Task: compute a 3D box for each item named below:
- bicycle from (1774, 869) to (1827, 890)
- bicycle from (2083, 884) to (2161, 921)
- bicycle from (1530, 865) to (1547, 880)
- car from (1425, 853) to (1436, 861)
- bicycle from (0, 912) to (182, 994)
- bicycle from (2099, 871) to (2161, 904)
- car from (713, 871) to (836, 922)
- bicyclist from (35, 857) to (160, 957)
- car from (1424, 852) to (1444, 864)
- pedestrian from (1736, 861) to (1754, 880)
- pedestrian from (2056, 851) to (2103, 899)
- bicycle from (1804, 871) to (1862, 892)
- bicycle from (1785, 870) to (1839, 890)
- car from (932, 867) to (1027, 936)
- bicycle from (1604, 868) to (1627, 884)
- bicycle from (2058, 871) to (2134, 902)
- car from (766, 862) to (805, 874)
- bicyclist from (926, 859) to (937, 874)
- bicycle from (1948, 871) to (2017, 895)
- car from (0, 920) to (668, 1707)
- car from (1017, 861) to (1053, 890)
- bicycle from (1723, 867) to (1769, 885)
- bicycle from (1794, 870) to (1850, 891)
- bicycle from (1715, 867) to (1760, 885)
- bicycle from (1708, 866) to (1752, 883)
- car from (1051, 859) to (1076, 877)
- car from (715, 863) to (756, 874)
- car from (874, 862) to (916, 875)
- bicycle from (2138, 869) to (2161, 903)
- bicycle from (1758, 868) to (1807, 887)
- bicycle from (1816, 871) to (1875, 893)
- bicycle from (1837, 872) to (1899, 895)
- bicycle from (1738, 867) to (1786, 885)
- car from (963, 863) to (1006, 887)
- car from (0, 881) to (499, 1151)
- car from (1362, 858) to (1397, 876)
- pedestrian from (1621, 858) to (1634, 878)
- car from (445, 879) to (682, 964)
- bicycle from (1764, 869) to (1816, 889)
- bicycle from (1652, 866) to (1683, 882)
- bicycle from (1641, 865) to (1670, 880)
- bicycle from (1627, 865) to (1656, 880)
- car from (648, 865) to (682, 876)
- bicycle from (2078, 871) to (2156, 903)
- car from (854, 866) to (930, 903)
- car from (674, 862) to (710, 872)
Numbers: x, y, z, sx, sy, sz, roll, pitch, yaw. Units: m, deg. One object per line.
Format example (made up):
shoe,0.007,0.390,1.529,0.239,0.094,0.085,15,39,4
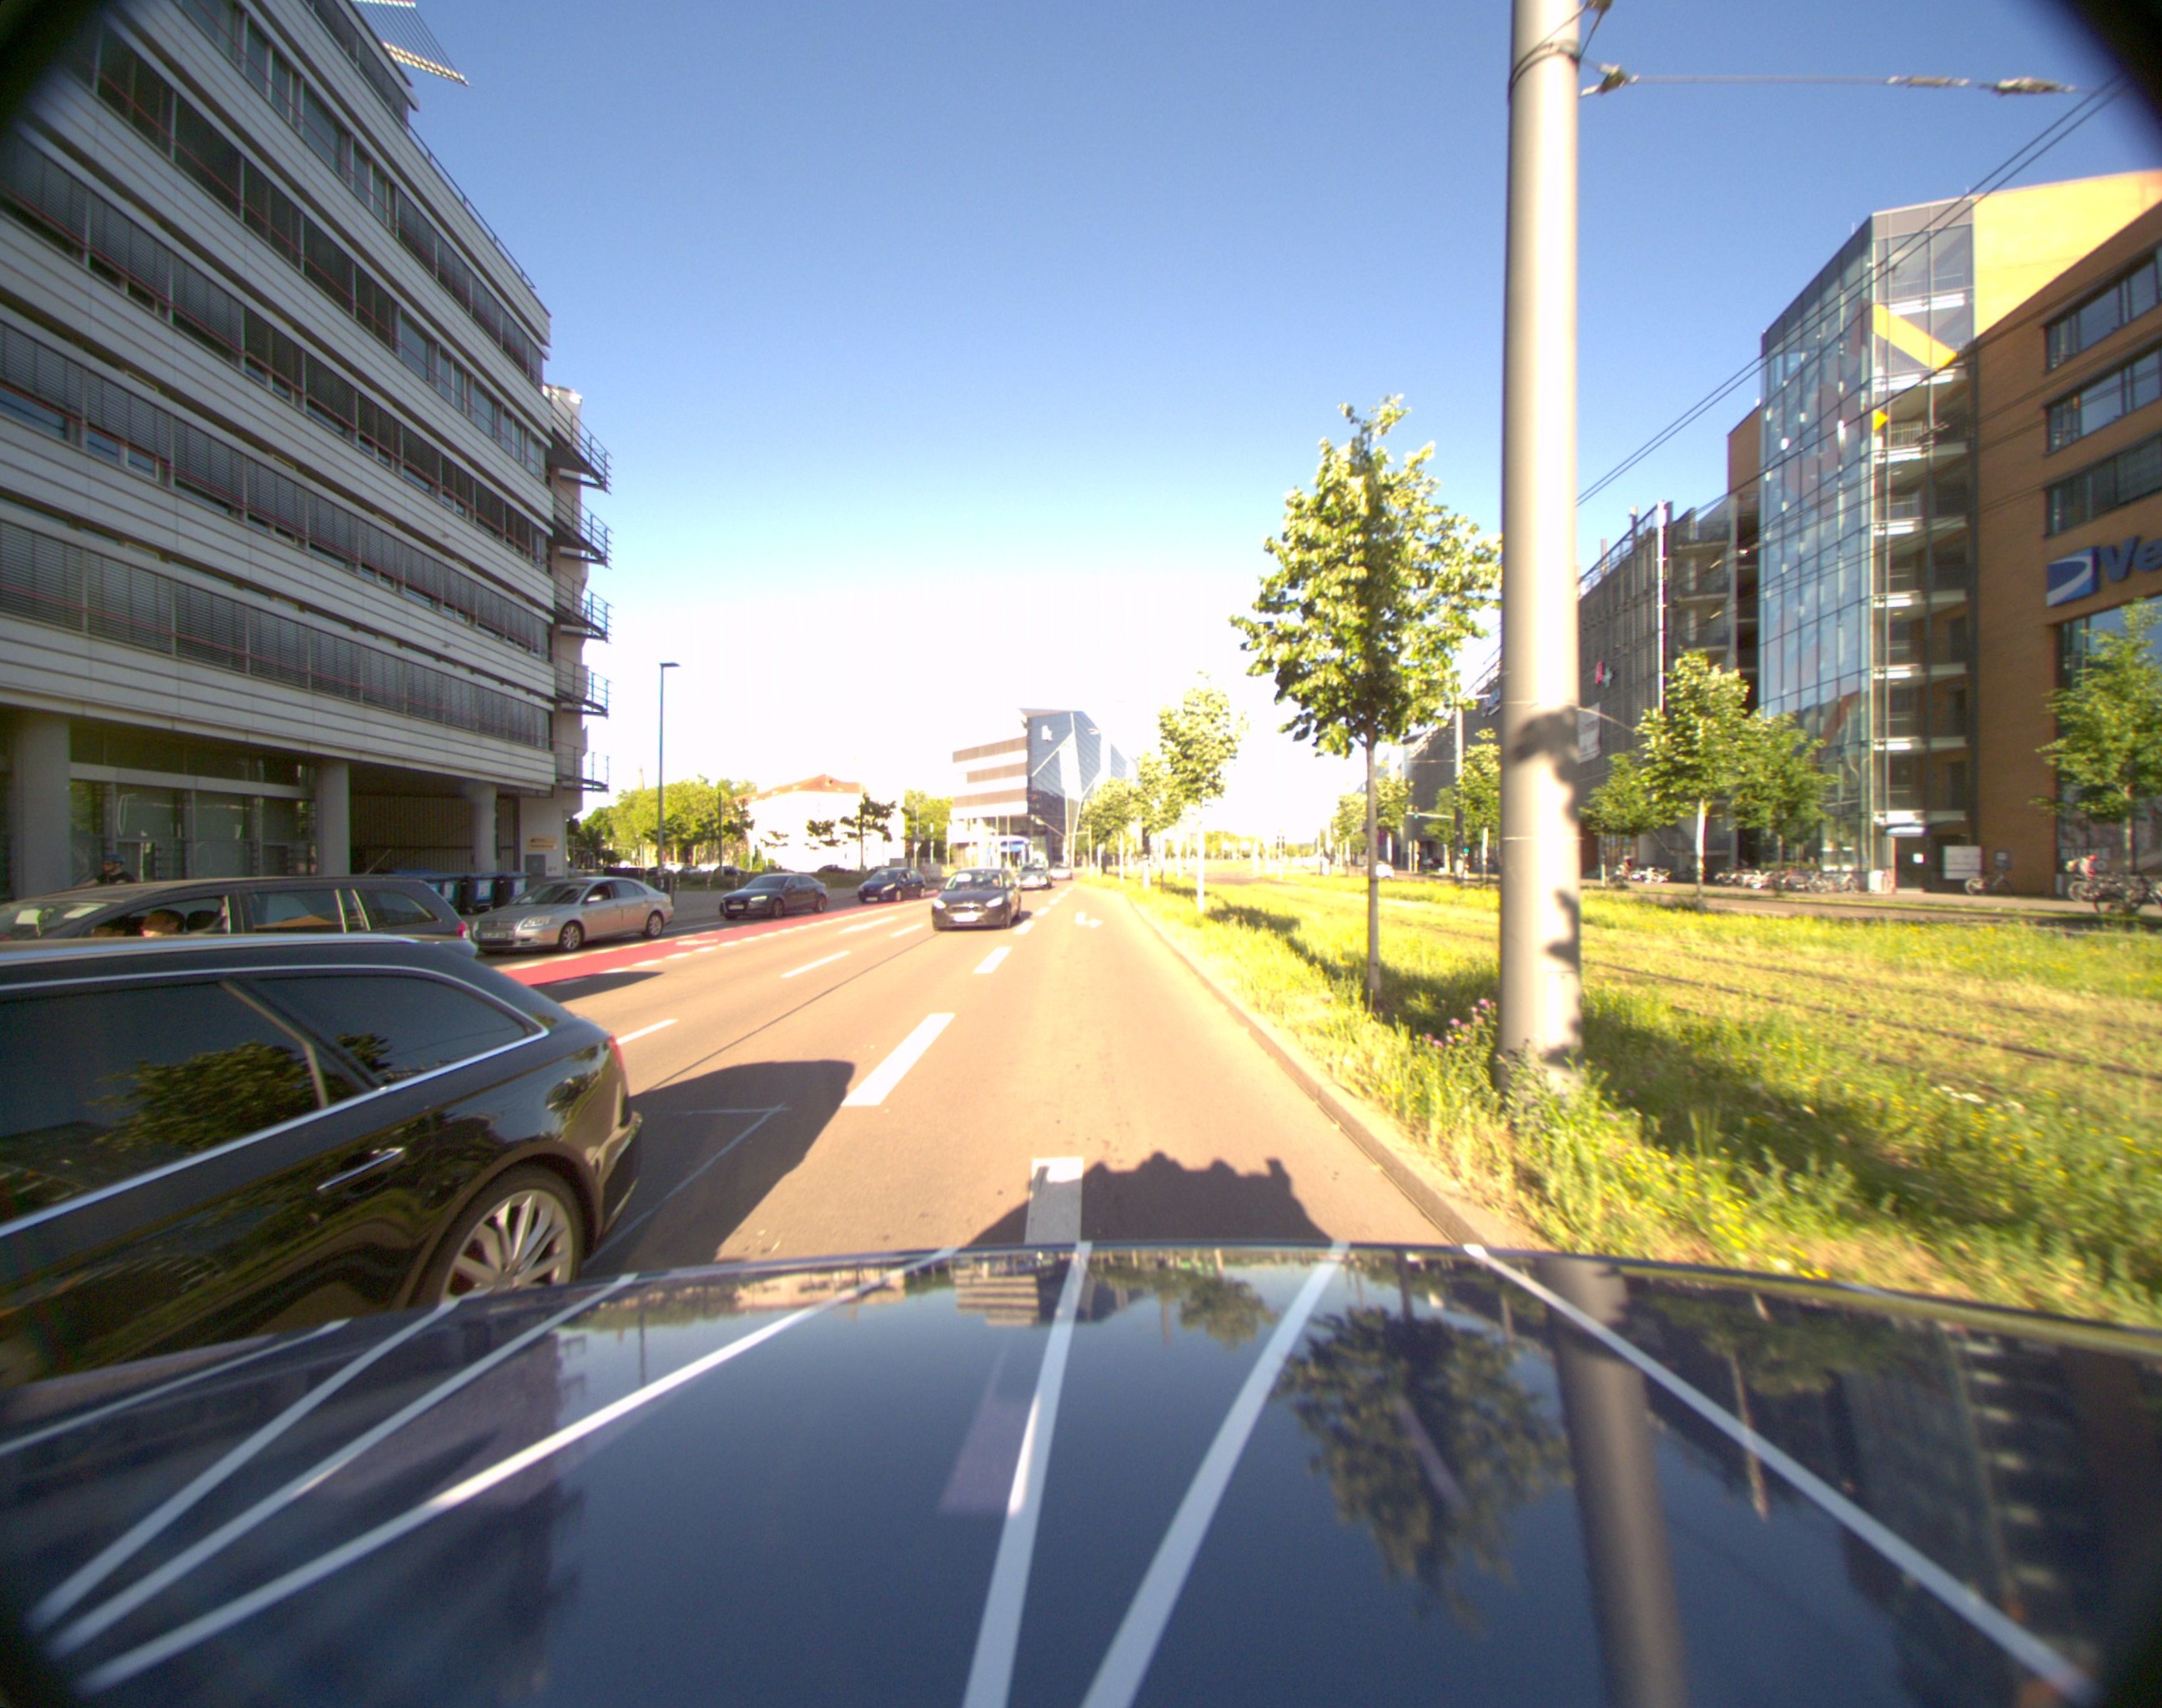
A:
bicycle,33.913,1.197,35.814,1.768,0.921,0.565,0,0,15
bicycle,26.965,1.225,19.380,0.464,0.863,1.771,0,0,-1
bicycle,29.472,1.211,48.934,0.386,0.918,1.773,0,0,11
car,63.586,0.557,138.295,1.688,1.364,3.596,-1,0,24
bicycle,-15.991,1.533,12.150,0.500,1.026,2.207,-1,0,4
bicycle,34.951,1.107,25.111,1.769,1.043,0.491,0,0,6
car,-9.941,1.338,25.019,1.713,1.432,4.115,-2,0,12
bicyclist,-15.959,0.835,12.362,0.626,1.557,1.044,-1,0,5
car,49.833,0.549,107.293,1.583,1.521,3.753,-2,0,11
pedestrian,38.792,0.964,44.403,0.629,1.048,0.450,0,1,11
pedestrian,35.257,0.738,26.829,0.746,1.659,0.676,0,0,5
bicycle,33.414,1.218,33.780,1.768,0.921,0.565,0,0,15
bicycle,33.774,1.203,35.118,1.768,0.921,0.565,0,0,15
car,-2.436,1.103,19.154,1.689,1.425,4.153,-1,1,2
bicycle,30.733,1.231,43.695,0.386,0.863,1.773,0,0,11
bicycle,35.050,1.112,26.250,1.769,1.043,0.491,0,0,6
car,-36.294,1.691,93.324,3.991,1.414,2.003,-1,0,18
bicyclist,-16.712,1.414,84.966,1.006,1.597,0.880,-1,0,12
bicycle,36.029,1.161,30.380,1.768,0.921,0.565,0,0,15
car,-2.598,1.033,0.625,1.815,1.483,4.497,-3,0,3
car,-2.547,1.177,42.565,1.749,1.496,3.880,0,0,0
bicycle,34.820,1.160,39.801,1.768,0.921,0.565,0,0,15
bicycle,33.607,1.210,34.459,1.768,0.921,0.565,0,0,15
bicycle,34.957,1.154,40.466,1.768,0.921,0.491,0,0,15
bicycle,35.114,1.123,41.149,1.768,0.921,0.491,0,0,15
car,-1.447,1.162,63.943,1.620,1.421,3.769,-2,0,5
car,-43.403,1.810,95.490,4.516,1.414,2.003,-1,0,20
car,-21.858,1.714,89.354,4.286,1.414,2.003,-1,0,18
bicycle,34.878,1.014,24.129,1.769,1.043,0.491,0,0,6
bicycle,34.308,1.147,37.176,1.768,0.921,0.491,0,0,15
bicycle,33.174,1.227,33.001,1.768,0.921,0.565,0,0,15
bicycle,33.058,1.233,31.948,1.768,0.921,0.565,0,0,15
bicycle,34.568,1.104,38.586,1.768,0.921,0.491,0,0,15
car,-5.966,1.260,47.429,1.438,1.437,4.004,0,-1,11
car,-7.547,1.109,6.088,1.690,1.619,4.467,-1,0,14
car,23.396,1.021,59.609,1.809,1.320,4.409,0,0,11
pedestrian,36.237,0.929,50.374,0.448,1.282,0.630,0,0,11
car,-10.747,1.321,16.272,1.754,1.422,4.490,0,0,4
bicycle,34.097,1.190,36.546,1.768,0.921,0.565,0,0,15
bicycle,35.513,1.199,46.014,1.398,0.921,0.462,0,0,15
bicycle,35.849,1.185,47.430,1.398,0.921,0.462,0,0,15
bicycle,35.901,1.177,48.675,1.398,0.921,0.462,0,0,15
car,-54.953,2.226,100.330,3.990,1.368,1.938,-1,0,25
bicycle,35.002,1.115,25.678,1.769,1.043,0.491,0,0,6
car,-8.412,1.319,34.207,1.734,1.437,4.003,-1,1,12
car,-50.026,1.728,97.725,3.990,1.237,2.003,-1,0,24
